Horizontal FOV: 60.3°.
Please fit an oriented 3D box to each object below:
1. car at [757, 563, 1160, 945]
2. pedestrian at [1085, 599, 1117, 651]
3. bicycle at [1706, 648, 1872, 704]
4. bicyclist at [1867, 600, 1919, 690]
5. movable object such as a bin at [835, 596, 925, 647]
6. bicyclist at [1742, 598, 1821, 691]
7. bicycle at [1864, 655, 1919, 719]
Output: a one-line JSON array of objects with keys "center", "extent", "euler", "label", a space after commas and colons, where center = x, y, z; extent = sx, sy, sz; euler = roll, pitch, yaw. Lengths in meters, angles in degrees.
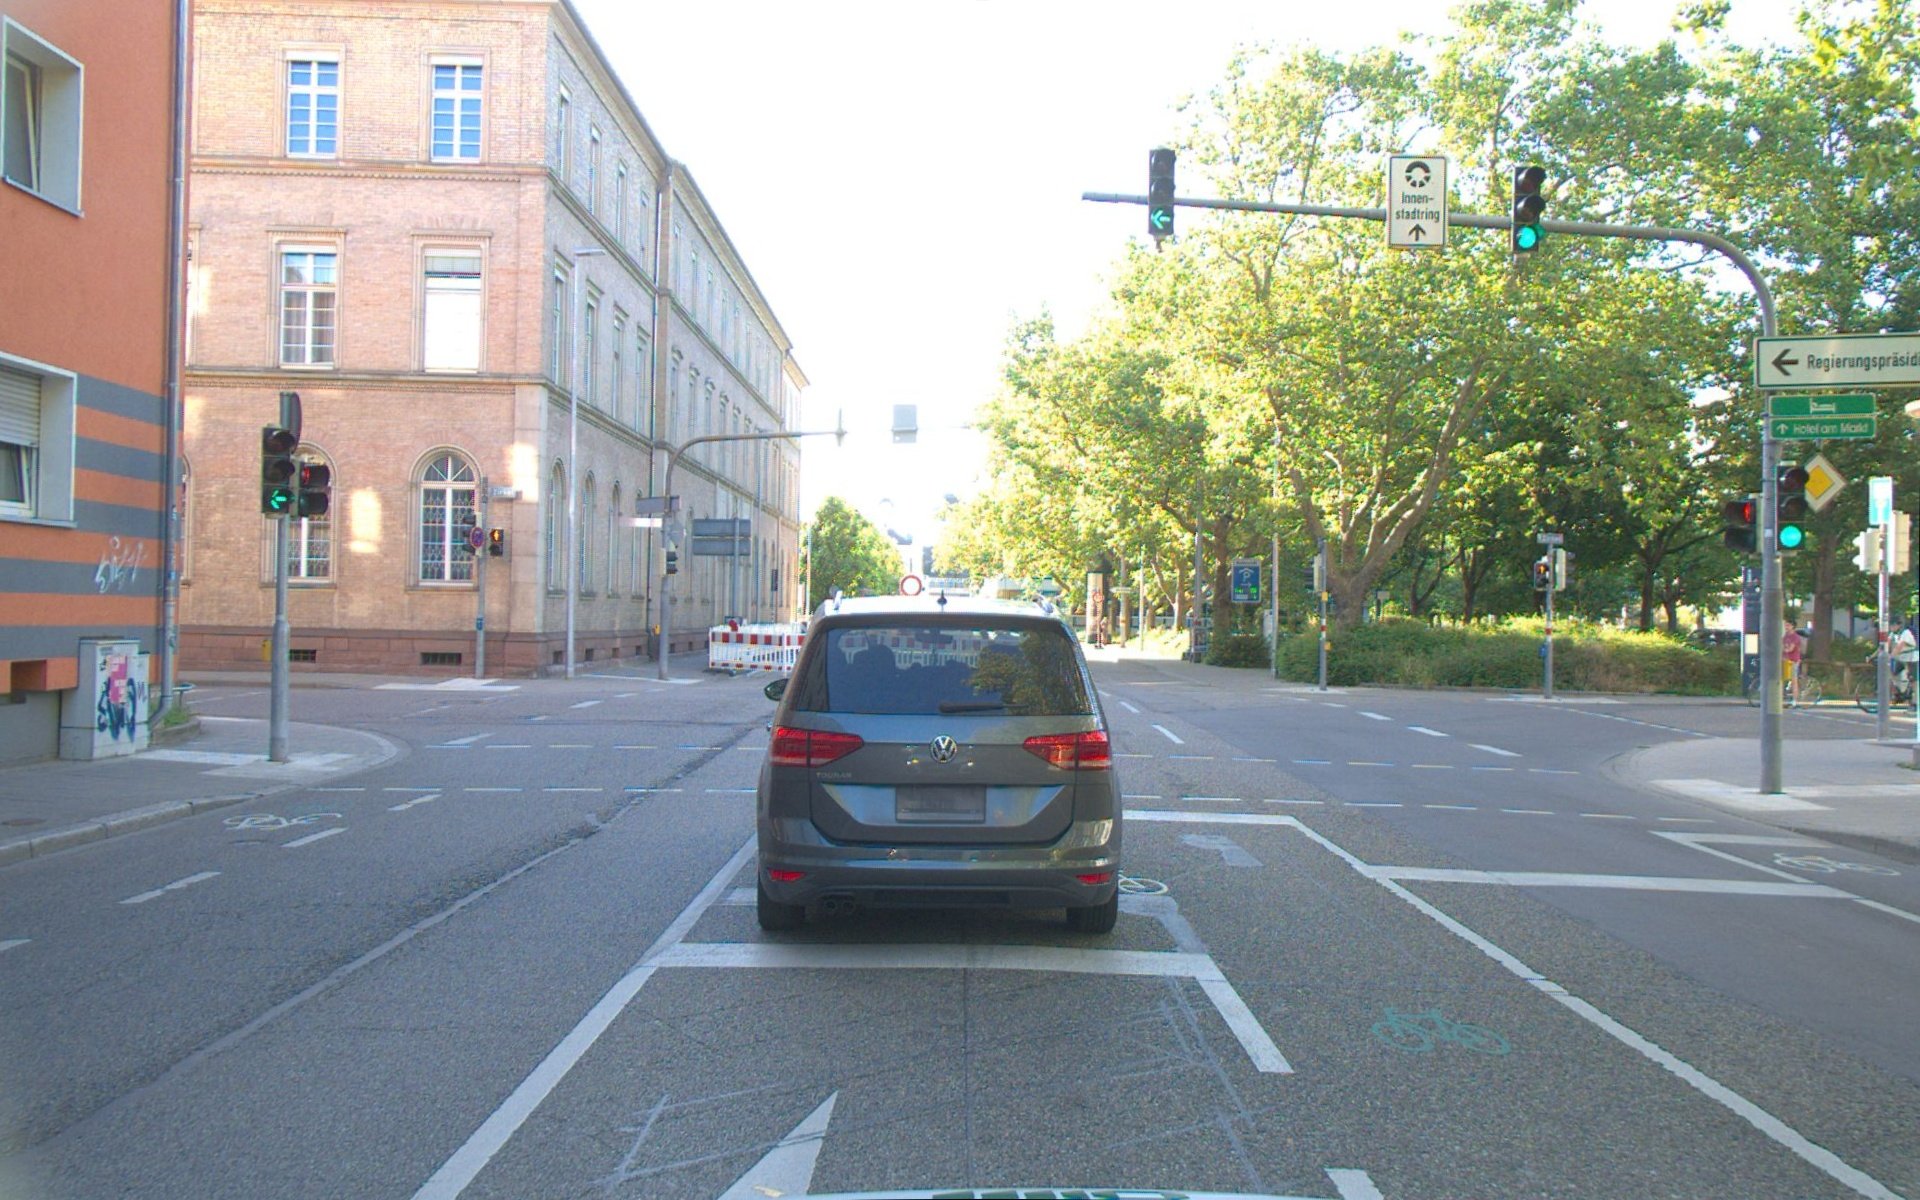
[{"center": [-0.112, 0.688, 9.166], "extent": [1.727, 1.635, 3.997], "euler": [1, 0, -3], "label": "car"}, {"center": [7.508, 1.325, 88.040], "extent": [1.393, 2.714, 1.146], "euler": [1, -1, -9], "label": "pedestrian"}, {"center": [16.828, 1.545, 33.605], "extent": [2.937, 1.056, 0.942], "euler": [1, -1, -4], "label": "bicycle"}, {"center": [17.018, 0.807, 30.033], "extent": [0.933, 1.572, 1.124], "euler": [0, 1, 31], "label": "bicyclist"}, {"center": [-4.596, 1.206, 94.629], "extent": [4.756, 2.825, 2.459], "euler": [0, -1, 42], "label": "movable object such as a bin"}, {"center": [16.677, 0.897, 33.590], "extent": [1.105, 1.839, 0.977], "euler": [1, -1, -3], "label": "bicyclist"}, {"center": [17.023, 1.599, 30.082], "extent": [0.961, 1.070, 2.654], "euler": [-1, -5, 29], "label": "bicycle"}]
